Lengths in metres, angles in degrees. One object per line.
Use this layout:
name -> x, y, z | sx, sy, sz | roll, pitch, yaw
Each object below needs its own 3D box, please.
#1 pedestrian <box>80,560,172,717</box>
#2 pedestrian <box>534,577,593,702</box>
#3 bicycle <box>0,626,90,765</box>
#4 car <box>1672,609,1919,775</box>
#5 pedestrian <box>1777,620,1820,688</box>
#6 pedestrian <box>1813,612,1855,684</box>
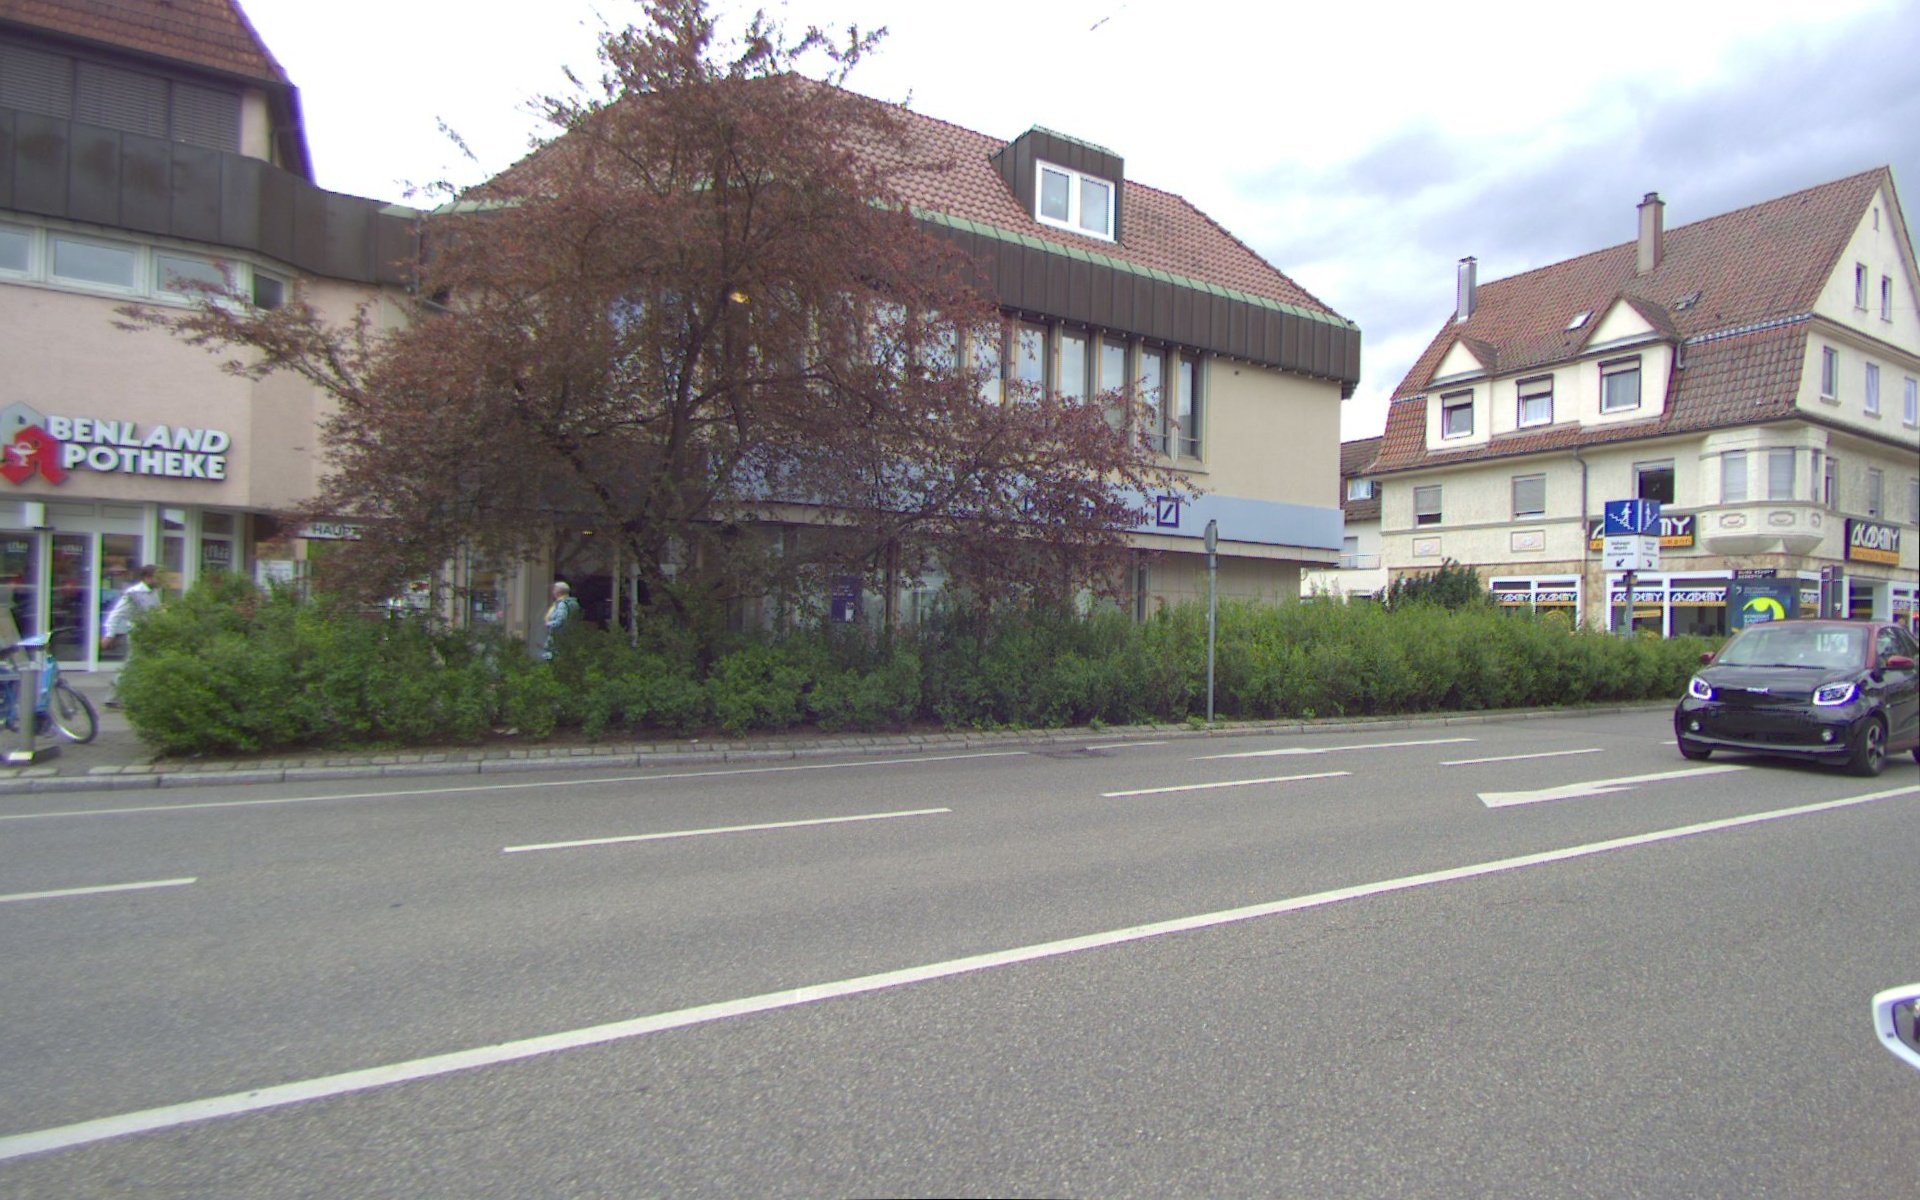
pedestrian -> -9.962, 0.435, 12.030 | 0.747, 1.788, 0.721 | 1, 3, -32
pedestrian -> -5.944, 0.580, 15.044 | 0.745, 1.788, 0.723 | 1, 4, -26
bicycle -> -8.482, 0.818, 9.222 | 0.643, 1.105, 2.002 | 1, -1, -39
car -> 9.305, 0.912, 10.942 | 2.928, 1.561, 1.561 | 2, -1, -32
pedestrian -> 22.574, 1.446, 27.045 | 0.673, 1.784, 0.684 | 1, -1, -30
pedestrian -> 22.744, 1.244, 26.136 | 0.673, 1.848, 0.630 | 1, -1, -30
